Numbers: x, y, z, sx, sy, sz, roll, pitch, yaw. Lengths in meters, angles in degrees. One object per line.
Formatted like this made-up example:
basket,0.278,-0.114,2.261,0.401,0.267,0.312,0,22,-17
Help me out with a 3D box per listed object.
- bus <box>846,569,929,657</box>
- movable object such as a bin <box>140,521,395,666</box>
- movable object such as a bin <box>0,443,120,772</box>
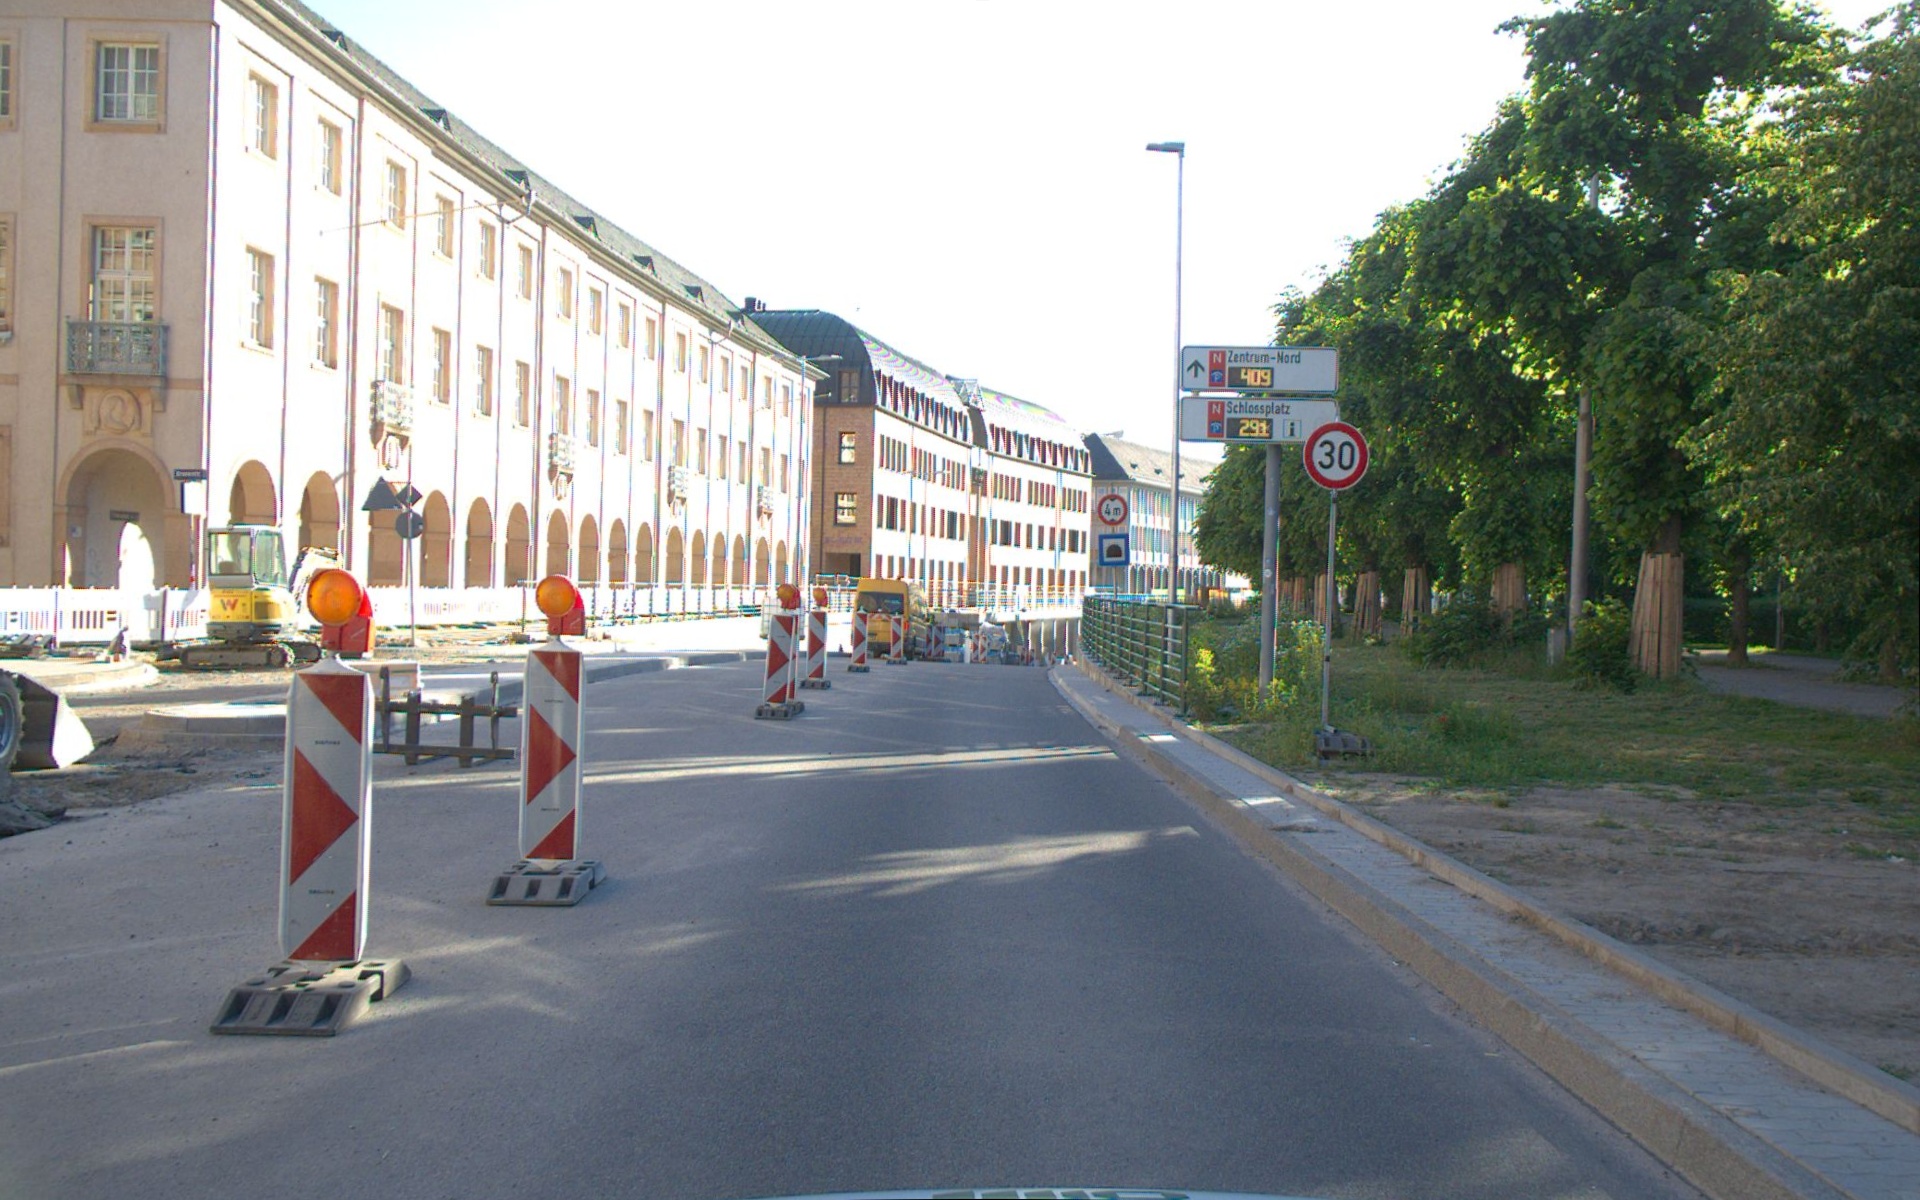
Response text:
bus,-2.343,0.477,54.706,2.029,2.733,4.686,2,-2,5
movable object such as a bin,-12.444,-0.118,30.109,2.493,2.390,4.462,1,0,4
movable object such as a bin,-8.336,0.045,12.175,2.033,2.518,4.615,1,1,-2
